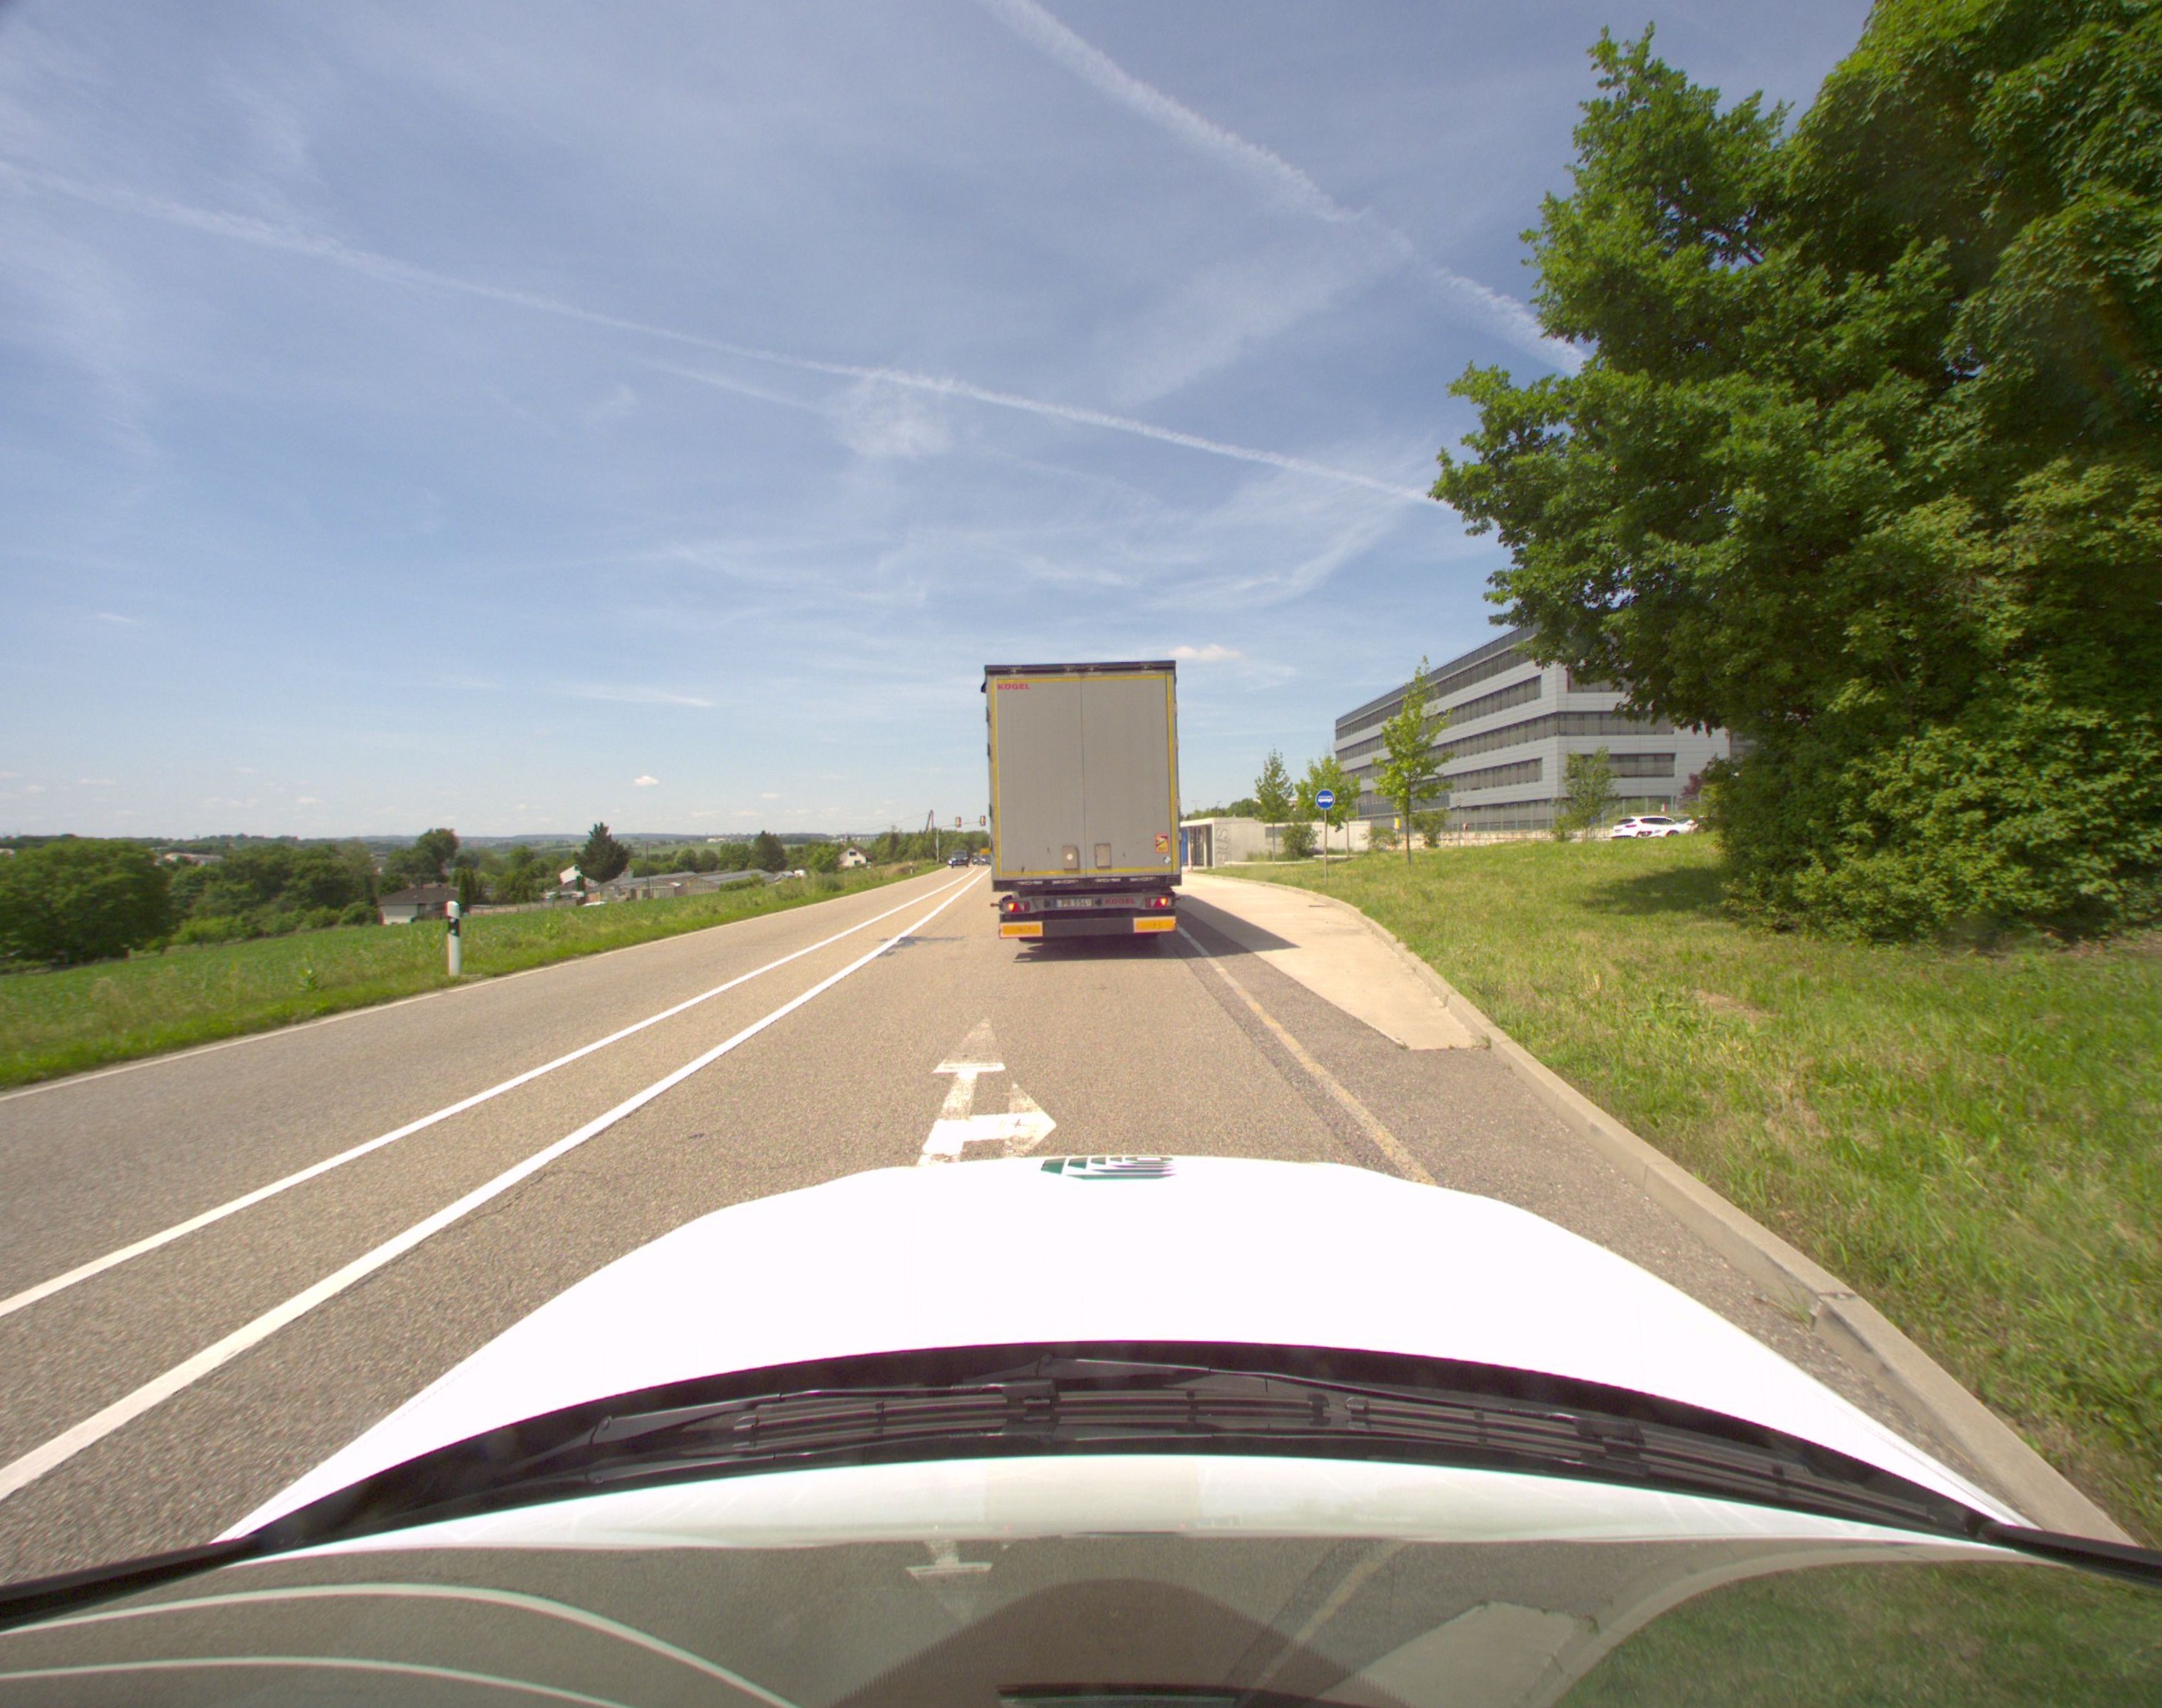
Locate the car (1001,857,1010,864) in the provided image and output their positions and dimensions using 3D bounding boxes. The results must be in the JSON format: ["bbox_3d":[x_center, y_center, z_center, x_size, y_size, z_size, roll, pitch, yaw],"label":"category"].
[{"bbox_3d":[-19.966,1.766,215.672,1.888,1.776,4.381,-3,0,-3],"label":"car"}]

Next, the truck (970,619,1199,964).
[{"bbox_3d":[-0.010,-0.841,14.900,2.898,4.409,8.856,-1,0,-1],"label":"truck"}]

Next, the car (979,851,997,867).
[{"bbox_3d":[-12.243,0.681,107.529,1.990,1.949,4.495,-4,0,-4],"label":"car"}]

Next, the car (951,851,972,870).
[{"bbox_3d":[-13.806,0.726,94.135,1.991,1.978,5.269,-3,0,-5],"label":"car"}]

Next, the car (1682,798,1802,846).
[{"bbox_3d":[30.882,-1.462,38.133,3.977,1.814,1.976,-5,-1,-3],"label":"car"}]

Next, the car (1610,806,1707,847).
[{"bbox_3d":[31.546,-1.478,44.572,3.977,1.814,1.754,-5,-1,-3],"label":"car"}]

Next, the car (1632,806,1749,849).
[{"bbox_3d":[31.410,-1.360,42.073,4.539,1.766,1.976,-5,-1,-3],"label":"car"}]

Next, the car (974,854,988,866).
[{"bbox_3d":[-16.430,0.965,134.119,1.990,1.815,4.289,-4,1,-5],"label":"car"}]

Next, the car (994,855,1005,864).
[{"bbox_3d":[-18.951,1.211,189.001,2.166,2.013,4.521,-3,0,-3],"label":"car"}]

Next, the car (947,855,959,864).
[{"bbox_3d":[-25.282,1.095,160.663,1.992,1.787,3.991,-3,0,-7],"label":"car"}]
